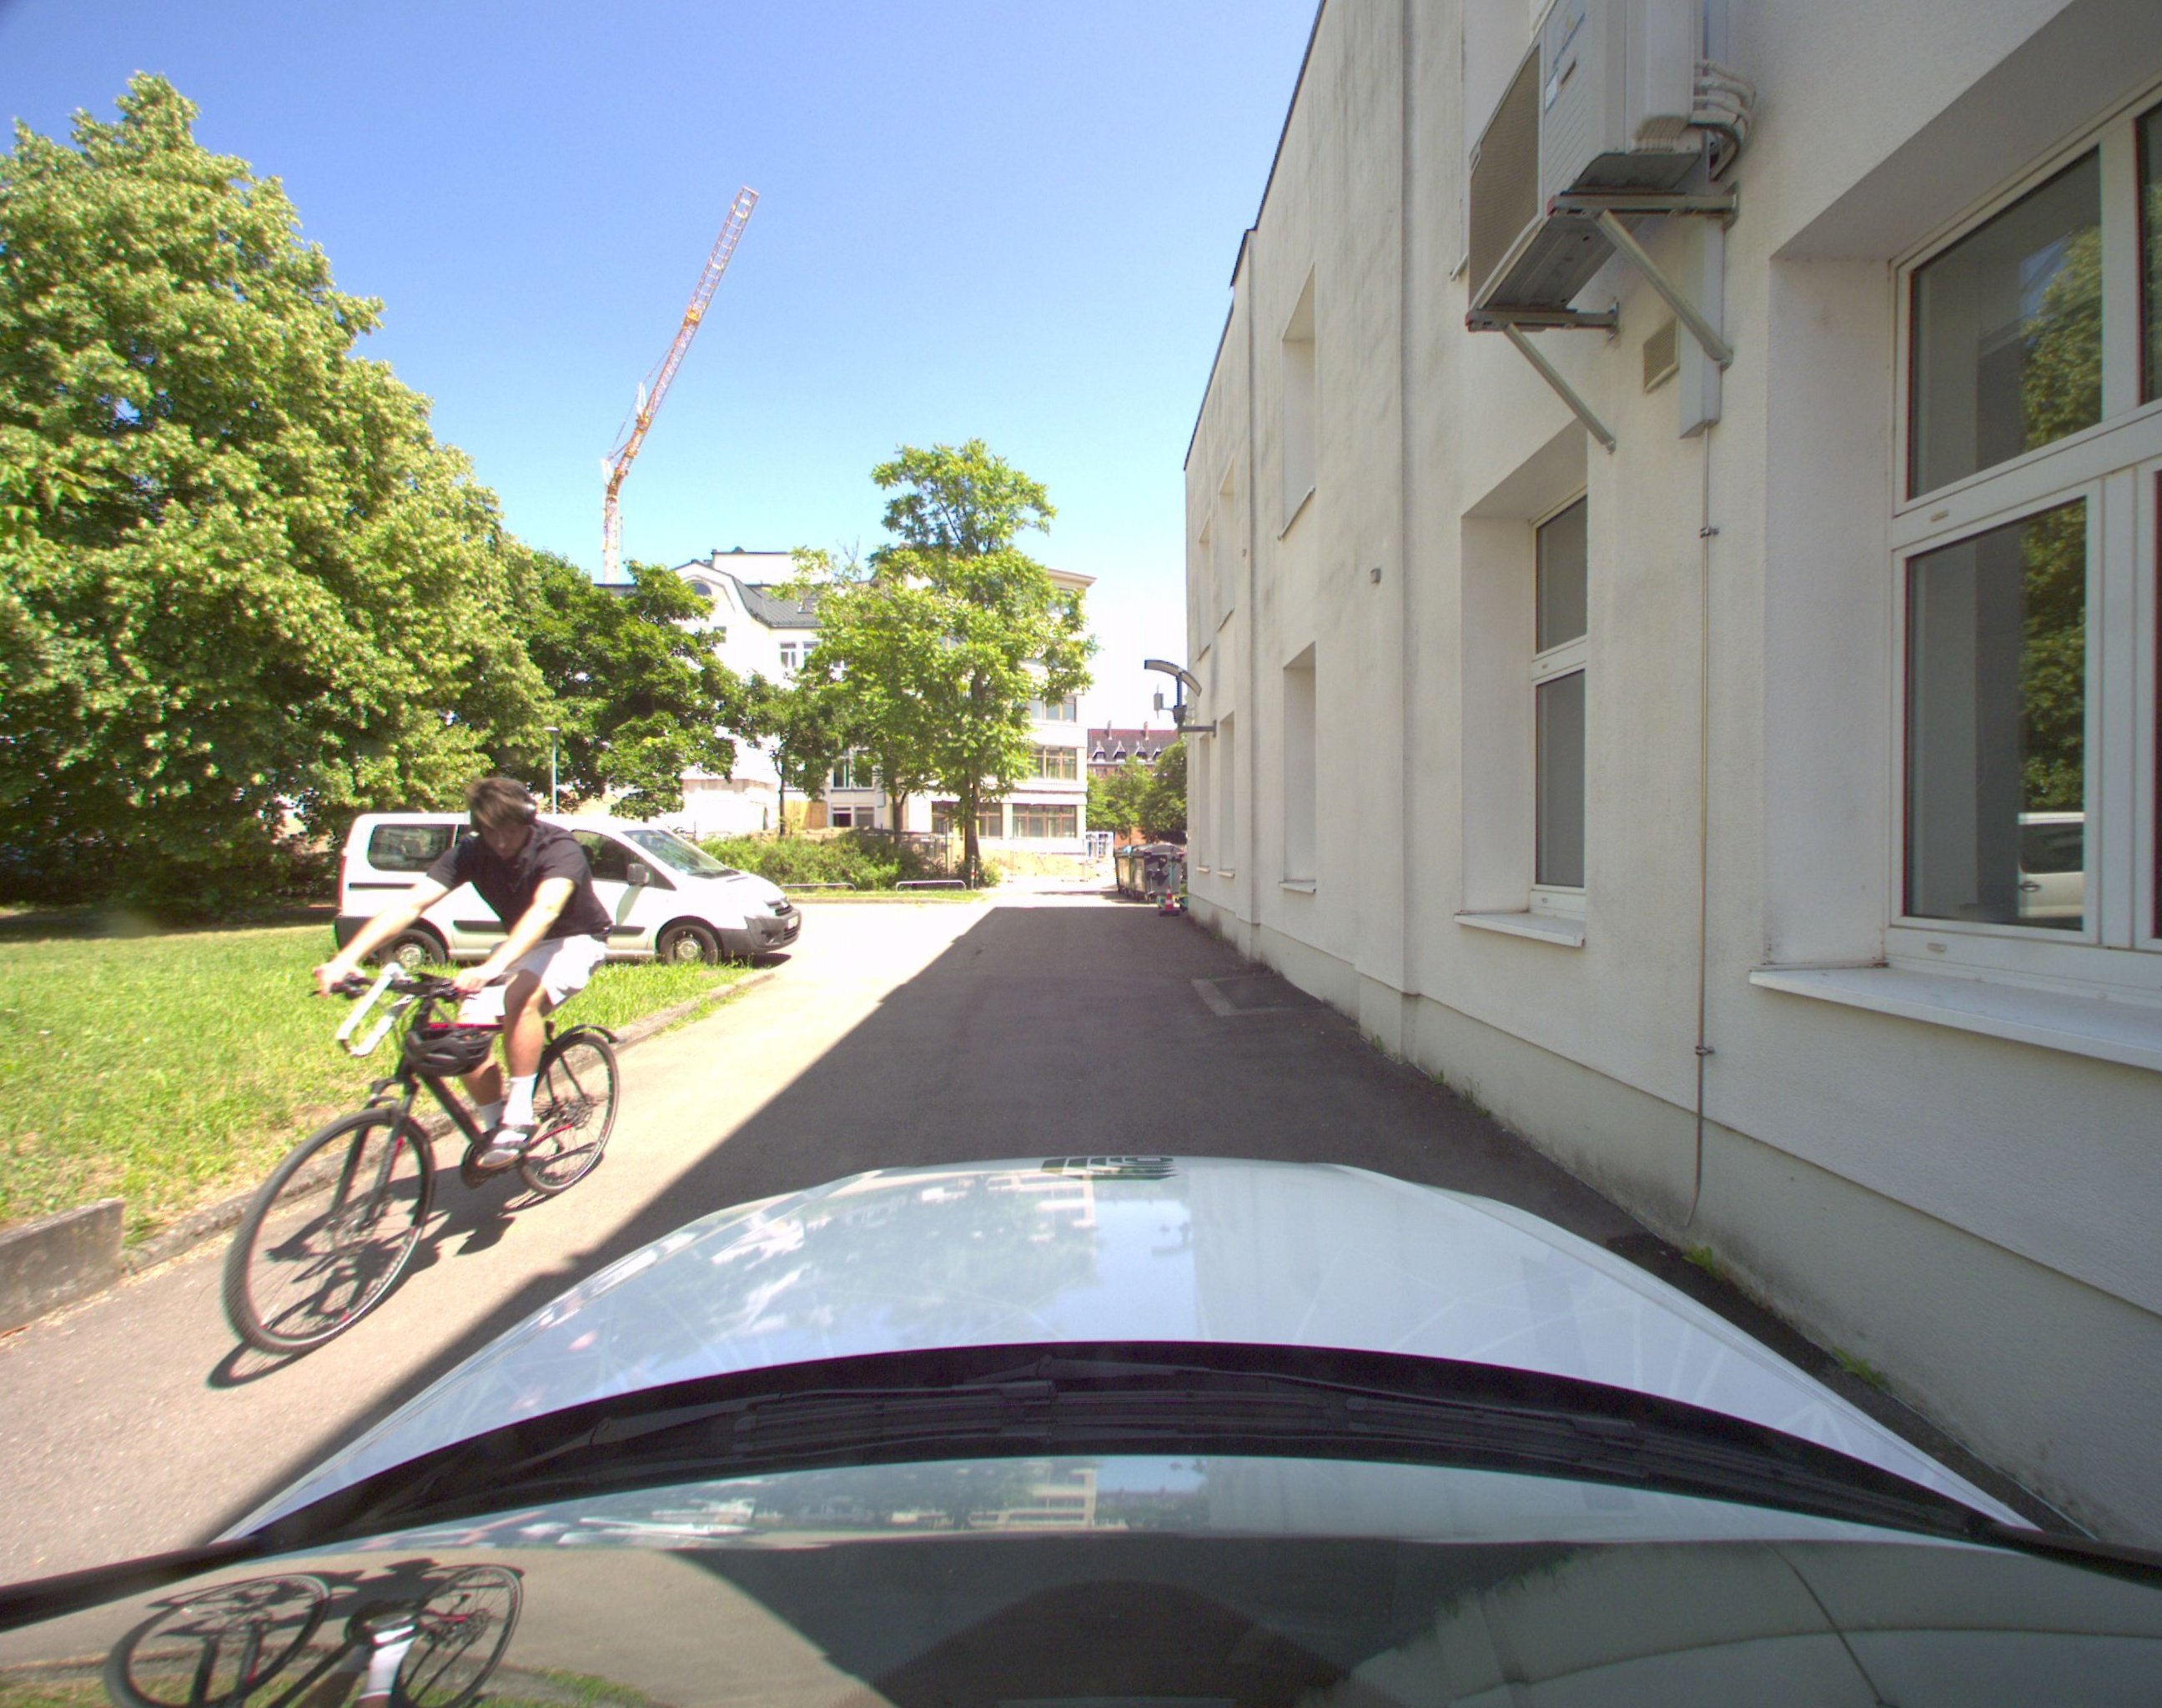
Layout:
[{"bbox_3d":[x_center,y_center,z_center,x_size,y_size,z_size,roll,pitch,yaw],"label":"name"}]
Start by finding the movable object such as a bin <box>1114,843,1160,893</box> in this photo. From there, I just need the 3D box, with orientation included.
[{"bbox_3d":[1.670,0.425,24.454,1.177,1.470,1.308,0,-1,-6],"label":"movable object such as a bin"}]

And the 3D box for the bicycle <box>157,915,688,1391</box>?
[{"bbox_3d":[-2.324,0.919,3.267,0.642,1.174,1.903,0,1,-3],"label":"bicycle"}]

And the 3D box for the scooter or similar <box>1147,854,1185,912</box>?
[{"bbox_3d":[1.787,0.590,17.220,0.463,1.174,1.353,0,0,-9],"label":"scooter or similar"}]

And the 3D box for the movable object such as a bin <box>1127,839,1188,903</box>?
[{"bbox_3d":[1.846,0.410,19.899,1.155,1.505,1.457,0,-1,-10],"label":"movable object such as a bin"}]

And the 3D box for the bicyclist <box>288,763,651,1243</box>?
[{"bbox_3d":[-2.319,0.496,3.241,0.721,1.609,0.977,0,0,-3],"label":"bicyclist"}]

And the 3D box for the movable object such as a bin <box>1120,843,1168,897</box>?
[{"bbox_3d":[1.761,0.447,23.015,1.177,1.470,1.309,0,-1,-5],"label":"movable object such as a bin"}]

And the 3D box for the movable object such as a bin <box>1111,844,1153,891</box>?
[{"bbox_3d":[1.634,0.418,25.993,1.171,1.470,1.337,0,-1,10],"label":"movable object such as a bin"}]

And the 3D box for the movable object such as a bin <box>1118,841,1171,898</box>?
[{"bbox_3d":[1.676,0.399,21.629,1.178,1.470,1.308,0,-1,-7],"label":"movable object such as a bin"}]

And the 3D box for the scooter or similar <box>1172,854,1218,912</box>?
[{"bbox_3d":[2.375,0.587,17.092,0.465,1.174,1.248,0,0,-18],"label":"scooter or similar"}]

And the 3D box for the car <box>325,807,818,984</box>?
[{"bbox_3d":[-6.002,0.424,10.208,4.782,1.911,1.996,-1,1,-6],"label":"car"}]
